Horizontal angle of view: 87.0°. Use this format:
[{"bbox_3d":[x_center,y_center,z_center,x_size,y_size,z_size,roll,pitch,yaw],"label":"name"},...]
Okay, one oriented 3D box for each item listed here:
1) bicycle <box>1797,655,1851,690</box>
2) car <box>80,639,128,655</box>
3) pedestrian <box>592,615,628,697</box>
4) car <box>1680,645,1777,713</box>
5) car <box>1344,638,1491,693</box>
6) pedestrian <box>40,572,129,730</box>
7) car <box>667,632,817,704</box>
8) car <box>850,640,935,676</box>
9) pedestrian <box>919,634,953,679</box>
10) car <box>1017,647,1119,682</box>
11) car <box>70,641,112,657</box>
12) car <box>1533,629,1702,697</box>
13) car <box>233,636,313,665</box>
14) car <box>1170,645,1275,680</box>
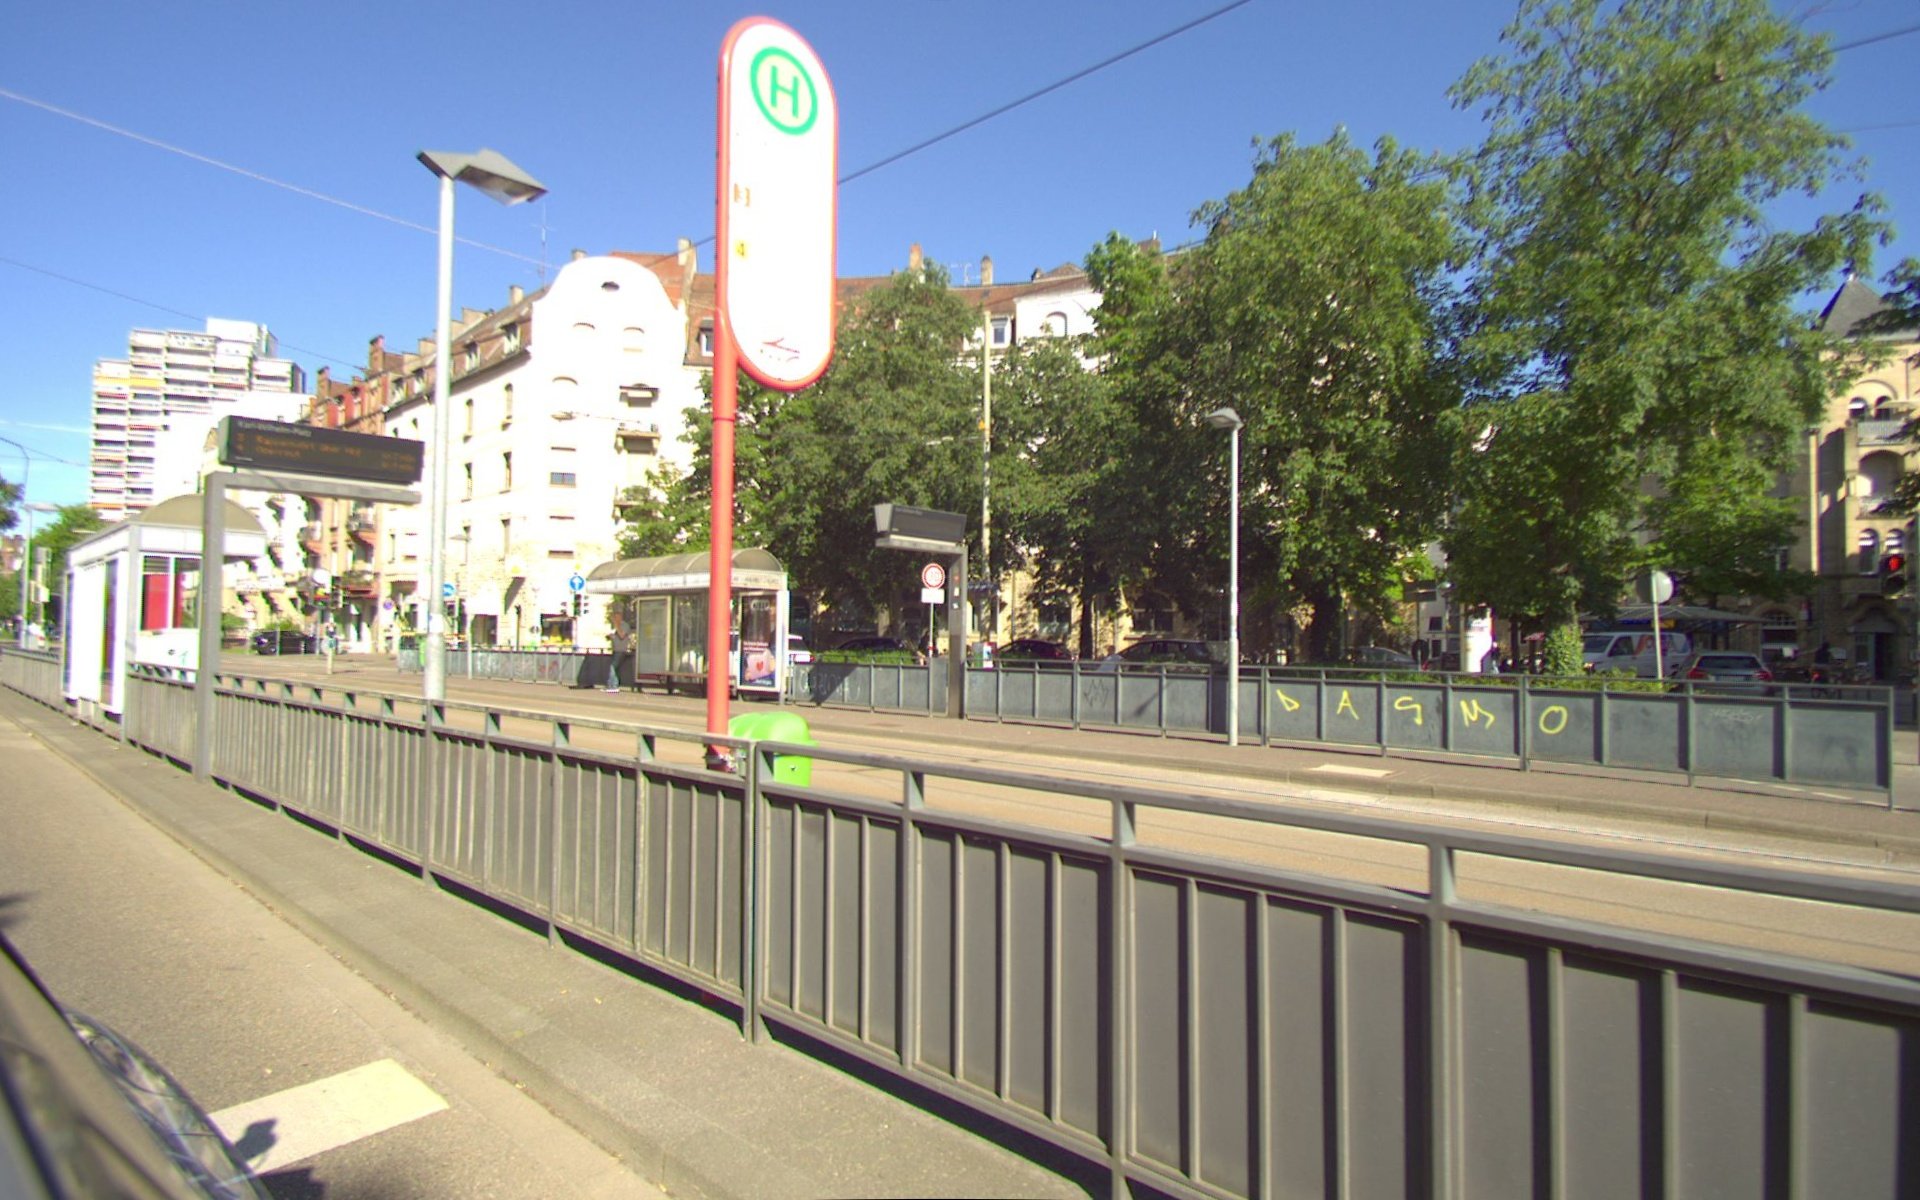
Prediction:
[{"bbox_3d":[26.095,2.172,30.562,1.522,1.000,0.576,0,-2,-21],"label":"bicycle"},{"bbox_3d":[-83.340,4.574,98.574,3.168,1.431,1.574,0,-2,-15],"label":"car"},{"bbox_3d":[-7.798,1.235,22.541,0.673,1.798,0.460,-2,-4,42],"label":"pedestrian"},{"bbox_3d":[18.695,1.862,24.736,1.574,1.453,3.417,-2,-2,33],"label":"car"},{"bbox_3d":[14.121,2.019,31.469,3.985,1.554,1.728,0,-4,19],"label":"car"},{"bbox_3d":[-10.984,0.611,12.689,0.896,1.886,0.763,-2,-1,45],"label":"pedestrian"},{"bbox_3d":[-5.202,1.574,23.882,1.670,1.552,3.801,6,-6,-44],"label":"car"},{"bbox_3d":[-2.655,2.292,40.214,2.971,1.340,1.728,-1,-2,18],"label":"car"},{"bbox_3d":[-0.705,1.648,29.744,0.724,1.291,0.650,-2,-2,43],"label":"pedestrian"},{"bbox_3d":[3.972,2.352,37.424,3.442,1.225,1.513,-1,-2,29],"label":"car"},{"bbox_3d":[-86.883,4.890,101.240,1.546,1.431,3.226,0,-2,-4],"label":"car"},{"bbox_3d":[20.517,1.907,31.585,4.773,1.957,1.931,0,-2,-21],"label":"car"},{"bbox_3d":[-43.800,3.169,64.557,1.816,1.600,3.838,4,1,38],"label":"car"},{"bbox_3d":[8.912,2.091,34.402,3.137,1.104,1.451,-2,-2,34],"label":"car"}]
